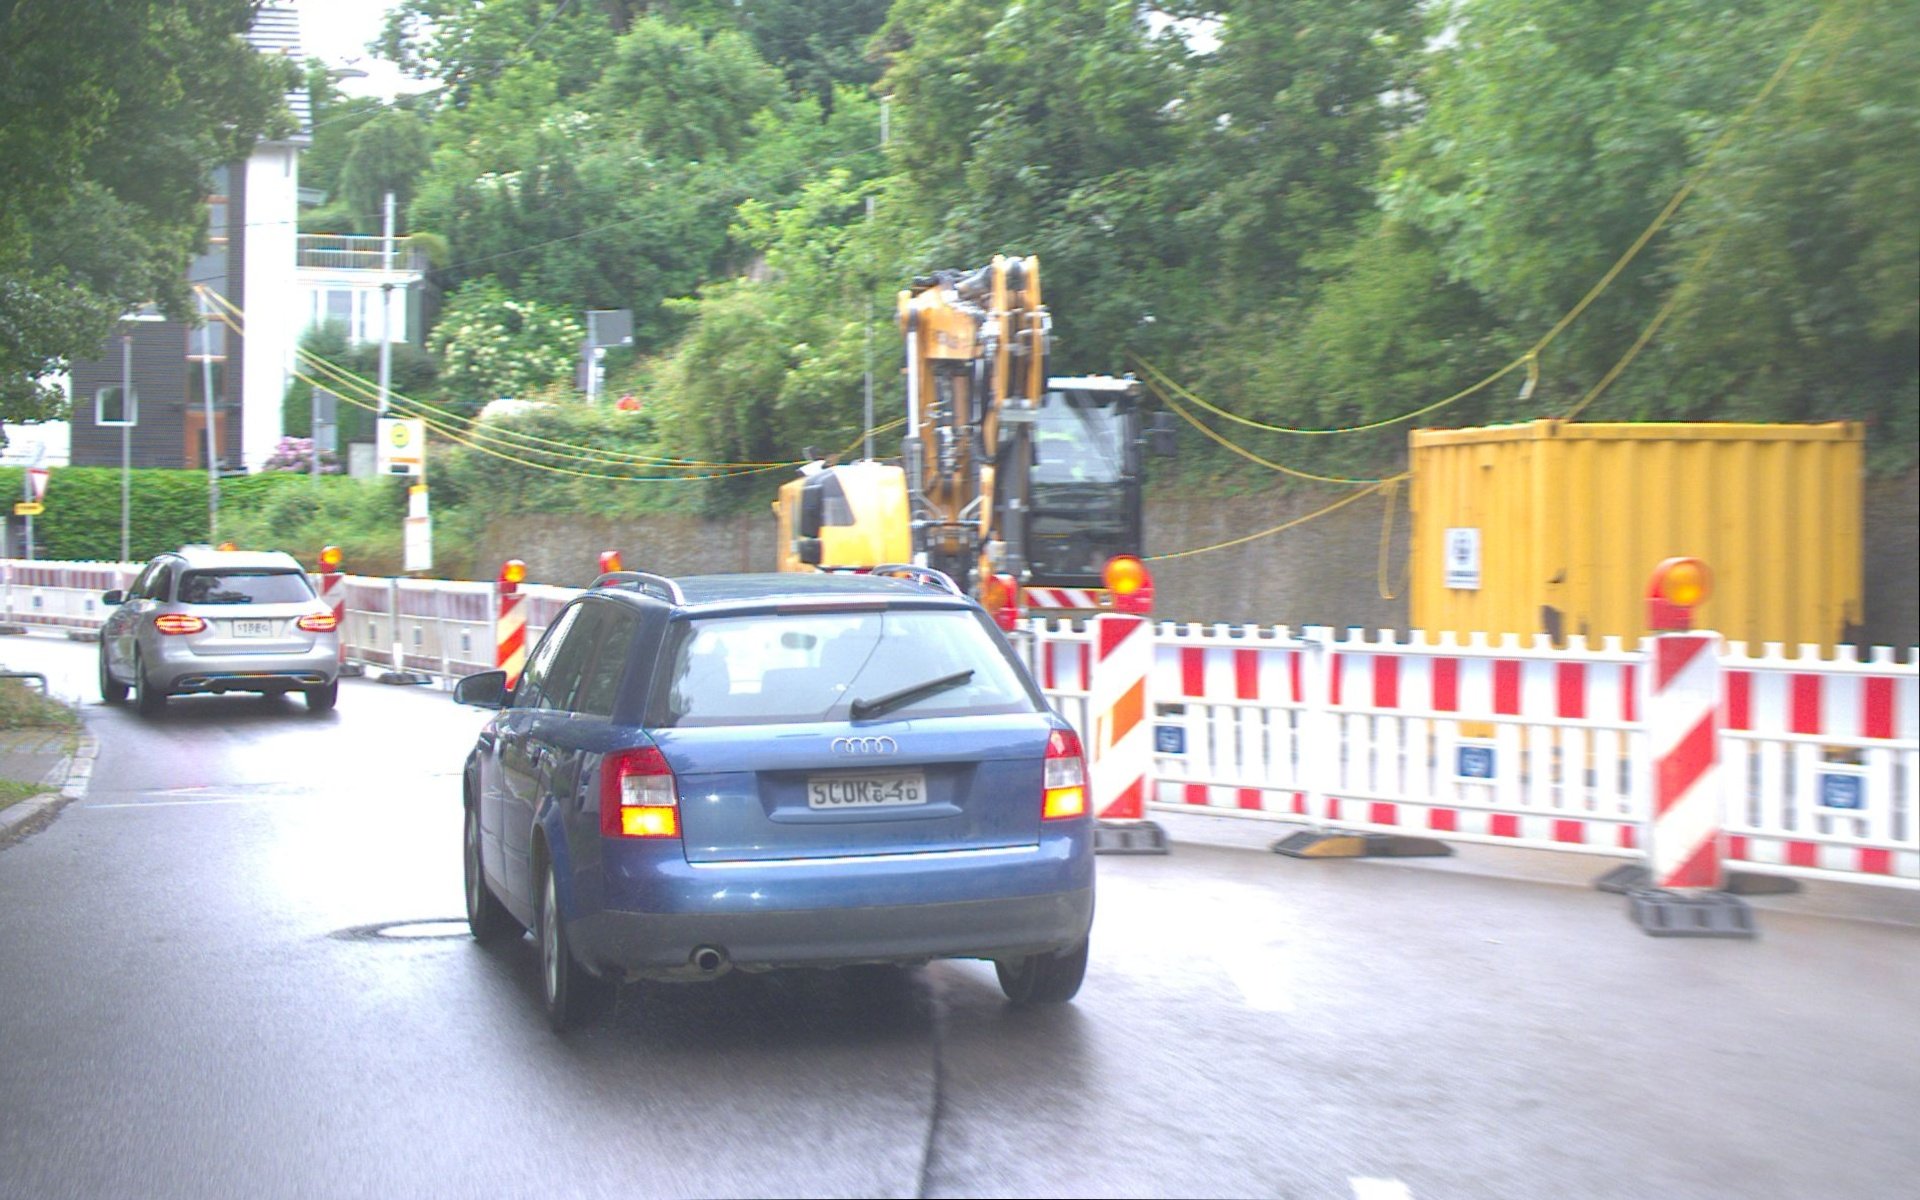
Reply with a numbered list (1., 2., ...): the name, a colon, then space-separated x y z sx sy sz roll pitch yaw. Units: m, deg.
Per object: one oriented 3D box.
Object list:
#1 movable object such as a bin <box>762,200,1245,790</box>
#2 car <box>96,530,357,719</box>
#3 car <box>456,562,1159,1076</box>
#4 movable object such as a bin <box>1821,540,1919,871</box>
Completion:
1. movable object such as a bin: 0.101 -0.814 27.212 2.819 4.000 7.329 -1 1 -7
2. car: -6.967 0.169 32.332 1.926 1.612 4.322 -1 1 -18
3. car: -0.709 0.607 11.991 1.785 1.437 3.965 -1 1 -12
4. movable object such as a bin: 5.502 0.511 15.264 1.993 1.514 4.001 0 2 -6
